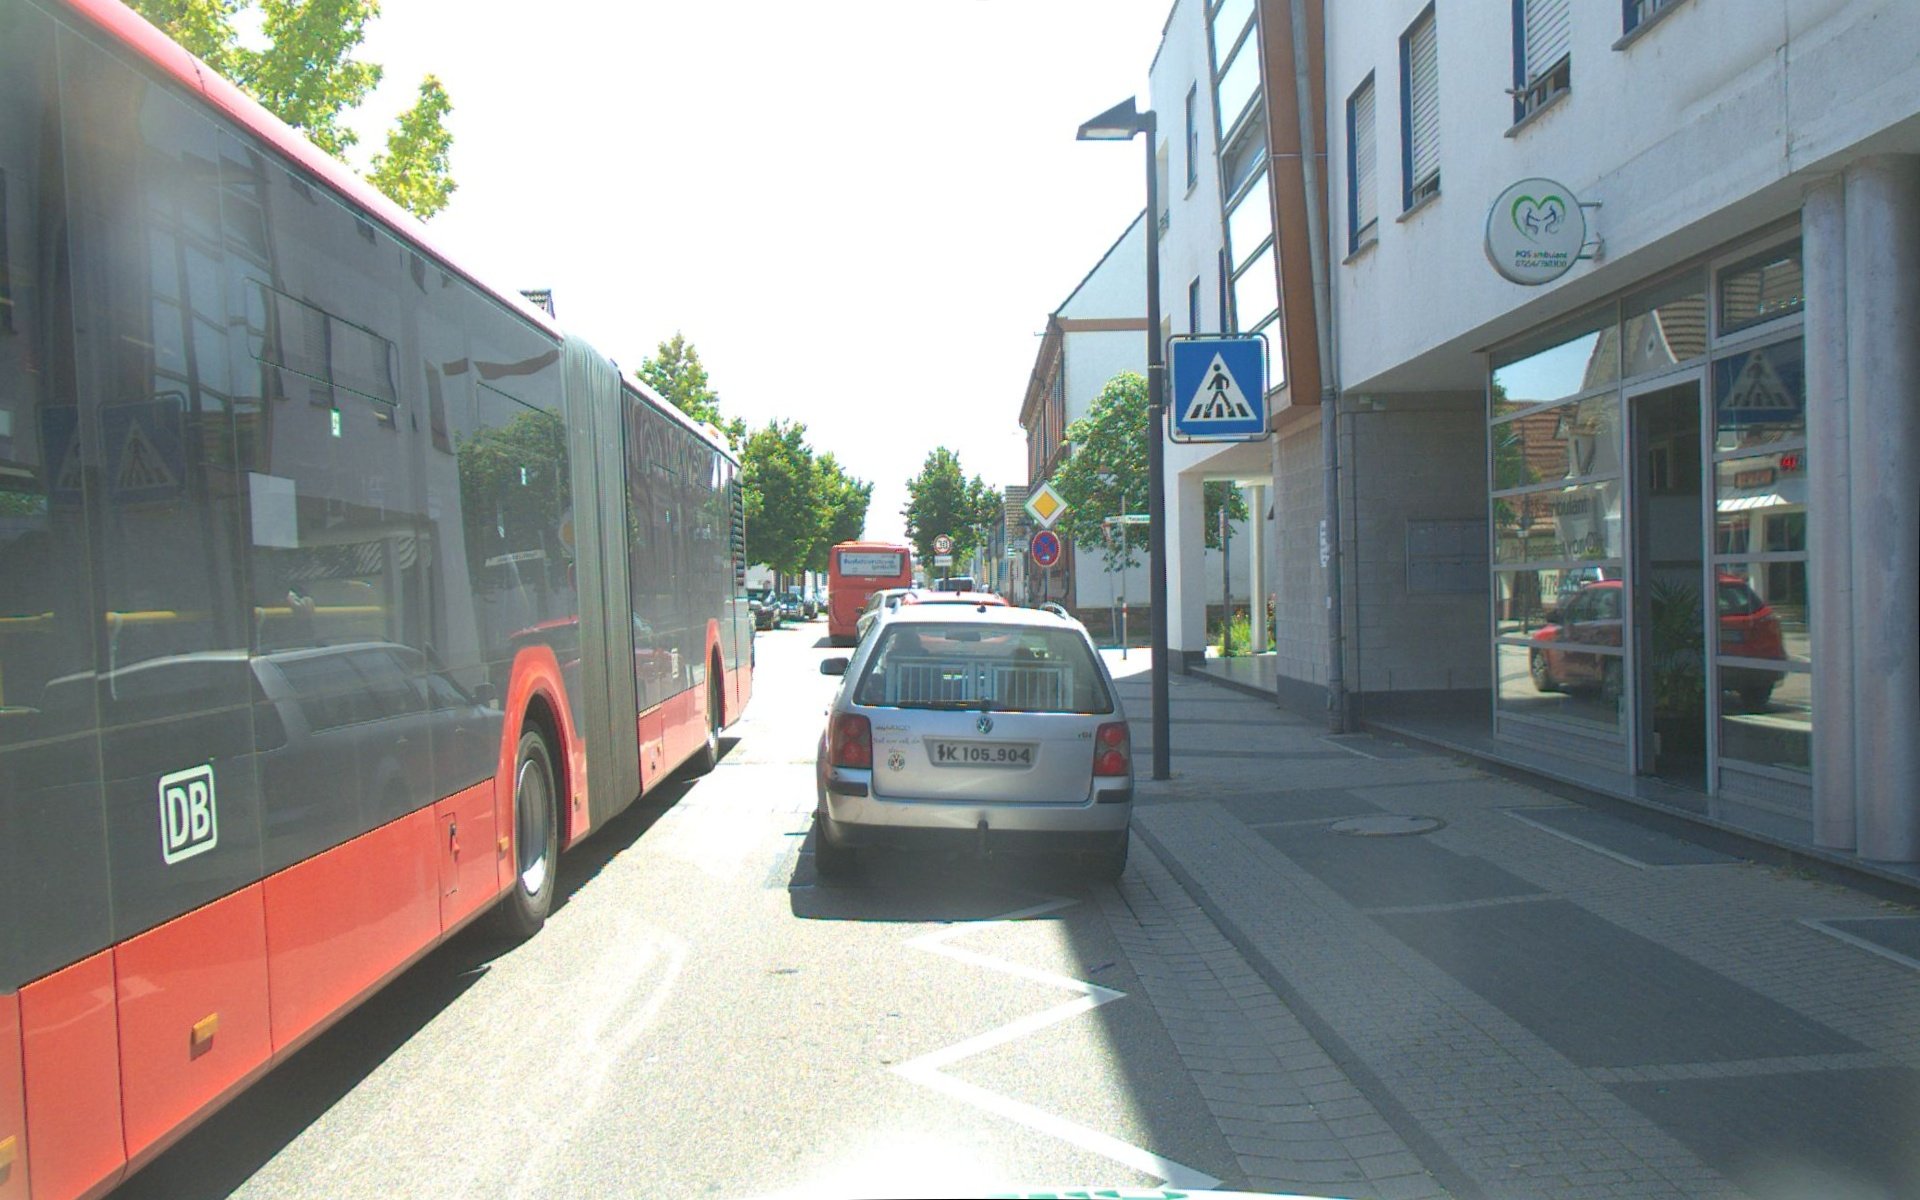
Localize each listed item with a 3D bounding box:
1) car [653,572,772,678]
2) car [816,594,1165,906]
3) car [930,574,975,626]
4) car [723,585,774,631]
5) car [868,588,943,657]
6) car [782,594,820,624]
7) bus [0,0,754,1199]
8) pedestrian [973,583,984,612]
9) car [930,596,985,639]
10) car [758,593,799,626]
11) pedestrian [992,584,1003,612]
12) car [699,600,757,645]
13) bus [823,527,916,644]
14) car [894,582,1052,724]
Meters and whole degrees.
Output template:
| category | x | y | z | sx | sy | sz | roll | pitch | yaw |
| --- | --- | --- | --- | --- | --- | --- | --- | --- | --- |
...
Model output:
| category | x | y | z | sx | sy | sz | roll | pitch | yaw |
| --- | --- | --- | --- | --- | --- | --- | --- | --- | --- |
| car | -4.427 | 0.407 | 30.109 | 1.641 | 1.746 | 4.230 | -1 | 0 | -2 |
| car | 0.102 | 0.716 | 9.765 | 1.643 | 1.455 | 3.678 | 1 | 0 | -2 |
| car | -0.342 | -0.004 | 69.683 | 1.752 | 2.118 | 3.624 | -1 | 0 | -2 |
| car | -8.976 | 0.329 | 70.361 | 1.729 | 1.870 | 3.787 | -1 | 0 | -2 |
| car | -1.172 | 0.463 | 36.574 | 1.561 | 1.455 | 3.679 | 0 | 0 | -1 |
| car | -8.814 | 0.470 | 91.823 | 1.775 | 1.586 | 3.999 | -1 | 0 | -2 |
| bus | -3.238 | -0.082 | 8.484 | 2.615 | 3.178 | 17.800 | -2 | 0 | -2 |
| pedestrian | 1.138 | -0.152 | 100.393 | 0.594 | 1.696 | 0.789 | -1 | 0 | -3 |
| car | -0.118 | 0.556 | 54.306 | 1.684 | 1.332 | 3.624 | -1 | 0 | -2 |
| car | -9.313 | 0.465 | 85.178 | 1.775 | 1.586 | 3.999 | -1 | 0 | -2 |
| pedestrian | 2.268 | -0.125 | 100.556 | 0.594 | 1.696 | 0.789 | -1 | 0 | -3 |
| car | -8.193 | 0.768 | 58.775 | 1.573 | 1.463 | 4.064 | -1 | 0 | -2 |
| bus | -3.164 | -0.423 | 54.624 | 2.686 | 3.356 | 12.692 | -1 | 0 | -5 |
| car | 0.092 | 0.558 | 19.535 | 1.643 | 1.455 | 3.678 | -2 | 0 | -2 |
